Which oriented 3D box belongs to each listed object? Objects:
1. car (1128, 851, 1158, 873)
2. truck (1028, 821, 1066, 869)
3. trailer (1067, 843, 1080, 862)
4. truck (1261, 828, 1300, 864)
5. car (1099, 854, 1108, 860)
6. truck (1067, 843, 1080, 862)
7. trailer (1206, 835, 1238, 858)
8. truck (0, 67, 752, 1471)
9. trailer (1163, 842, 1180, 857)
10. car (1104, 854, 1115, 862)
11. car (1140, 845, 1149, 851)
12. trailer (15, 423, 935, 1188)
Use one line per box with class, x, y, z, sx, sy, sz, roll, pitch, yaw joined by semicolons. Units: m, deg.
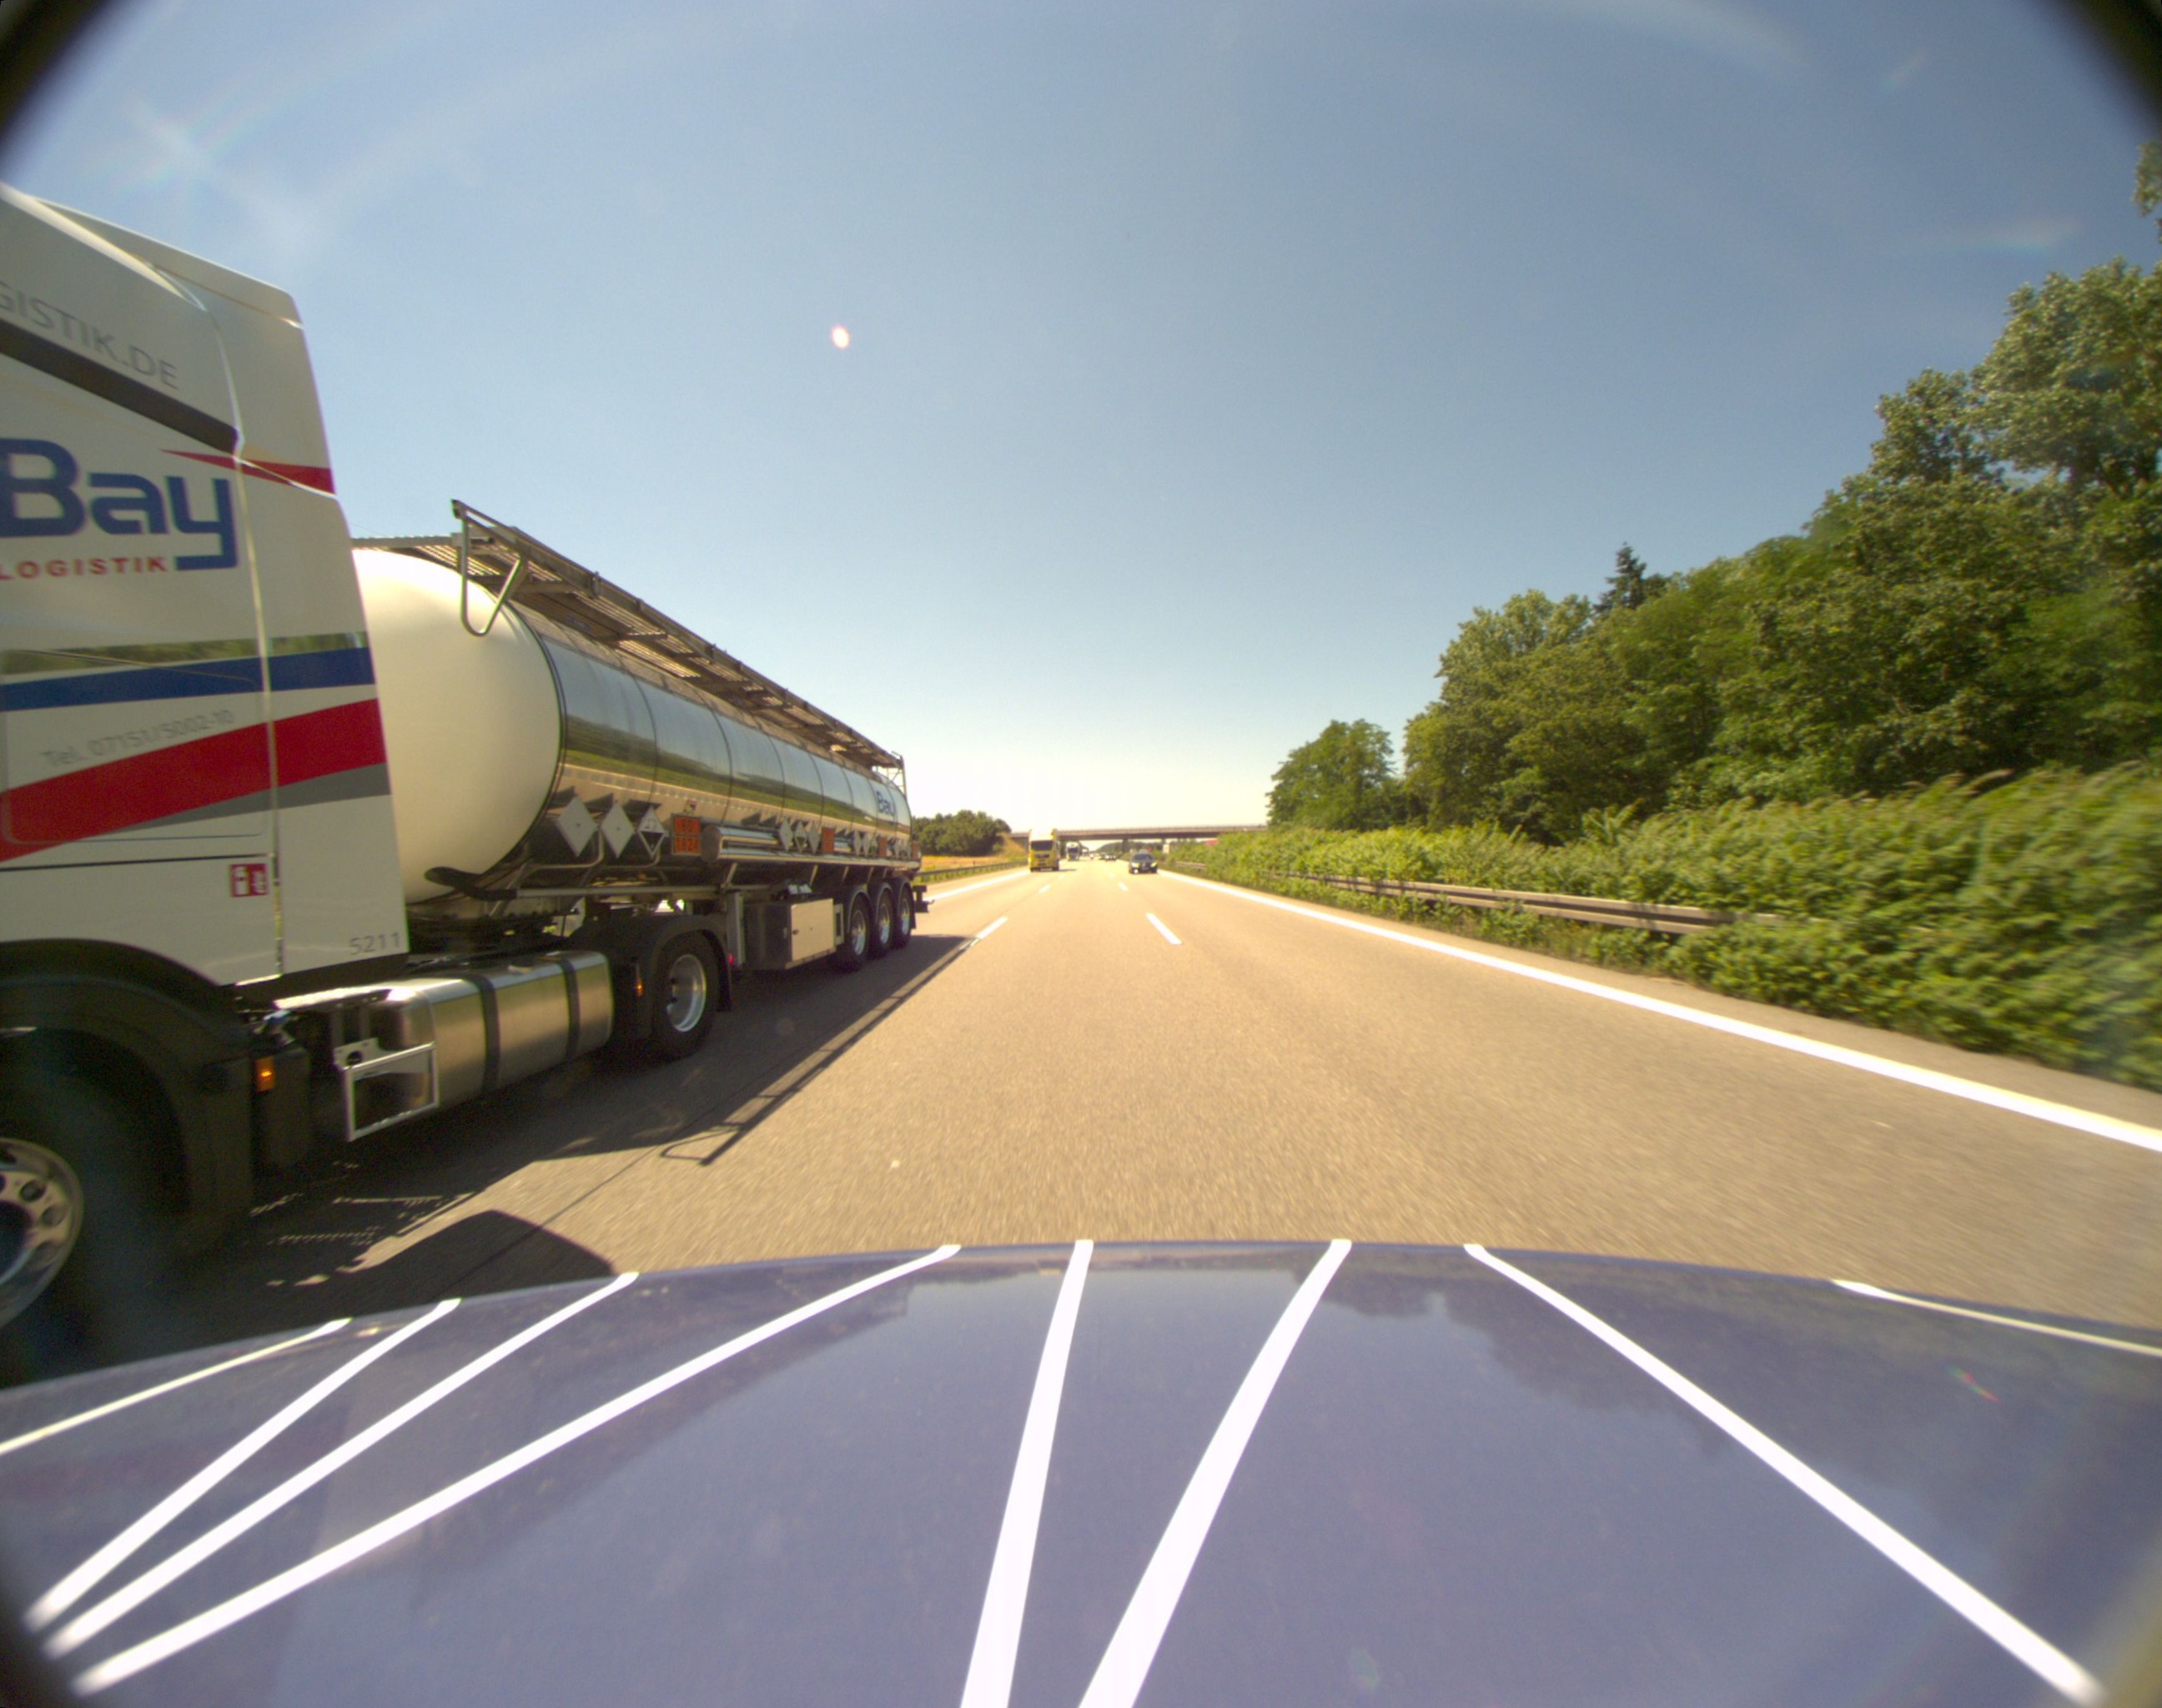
car;4.396;0.549;54.309;1.811;1.459;4.000;-2;0;1
truck;-3.168;-0.791;73.264;2.941;4.175;10.681;-2;0;1
trailer;-1.552;-0.390;173.545;2.476;4.038;13.880;-2;0;1
truck;21.700;-0.827;82.906;2.597;3.684;6.828;-2;0;2
car;5.155;0.649;172.907;1.811;1.417;4.000;-2;0;1
truck;-1.657;-0.374;166.751;2.476;4.038;6.320;-2;0;1
trailer;22.829;-1.197;123.768;2.593;3.397;14.155;-2;0;1
truck;-4.382;-0.248;3.678;2.579;4.048;6.392;-2;0;0
trailer;23.423;-1.201;197.836;2.833;3.688;13.928;-2;0;1
car;5.058;0.686;133.581;1.811;1.417;4.000;-2;0;1
car;20.363;-1.790;244.418;2.308;1.770;5.423;-2;0;-1
trailer;-4.345;-0.258;9.679;2.586;4.050;11.102;-2;0;0
